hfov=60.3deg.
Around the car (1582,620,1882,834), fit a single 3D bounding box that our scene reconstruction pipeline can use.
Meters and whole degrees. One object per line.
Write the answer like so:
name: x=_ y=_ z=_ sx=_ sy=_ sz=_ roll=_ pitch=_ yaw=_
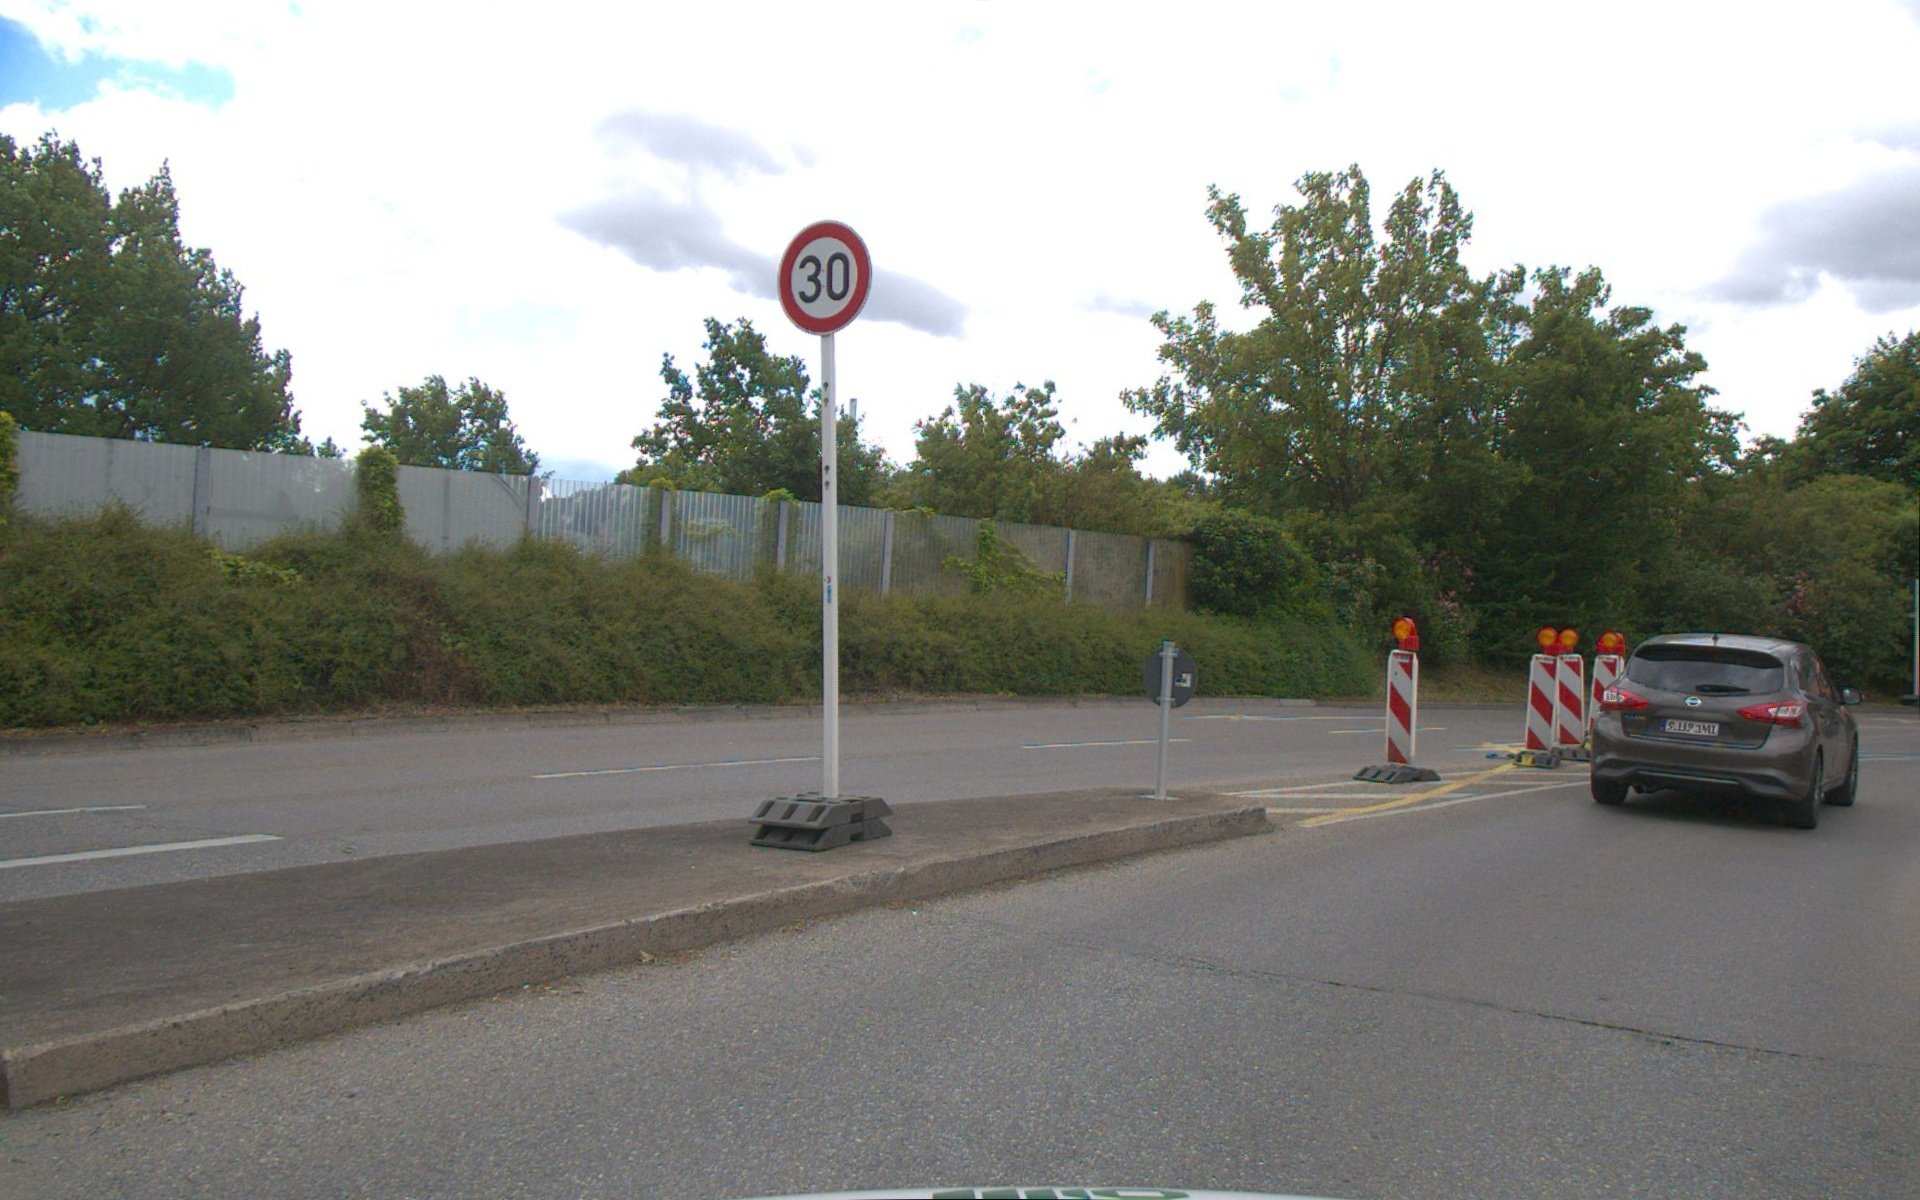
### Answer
car: x=7.047 y=1.037 z=14.882 sx=1.767 sy=1.579 sz=3.986 roll=2 pitch=-1 yaw=35
